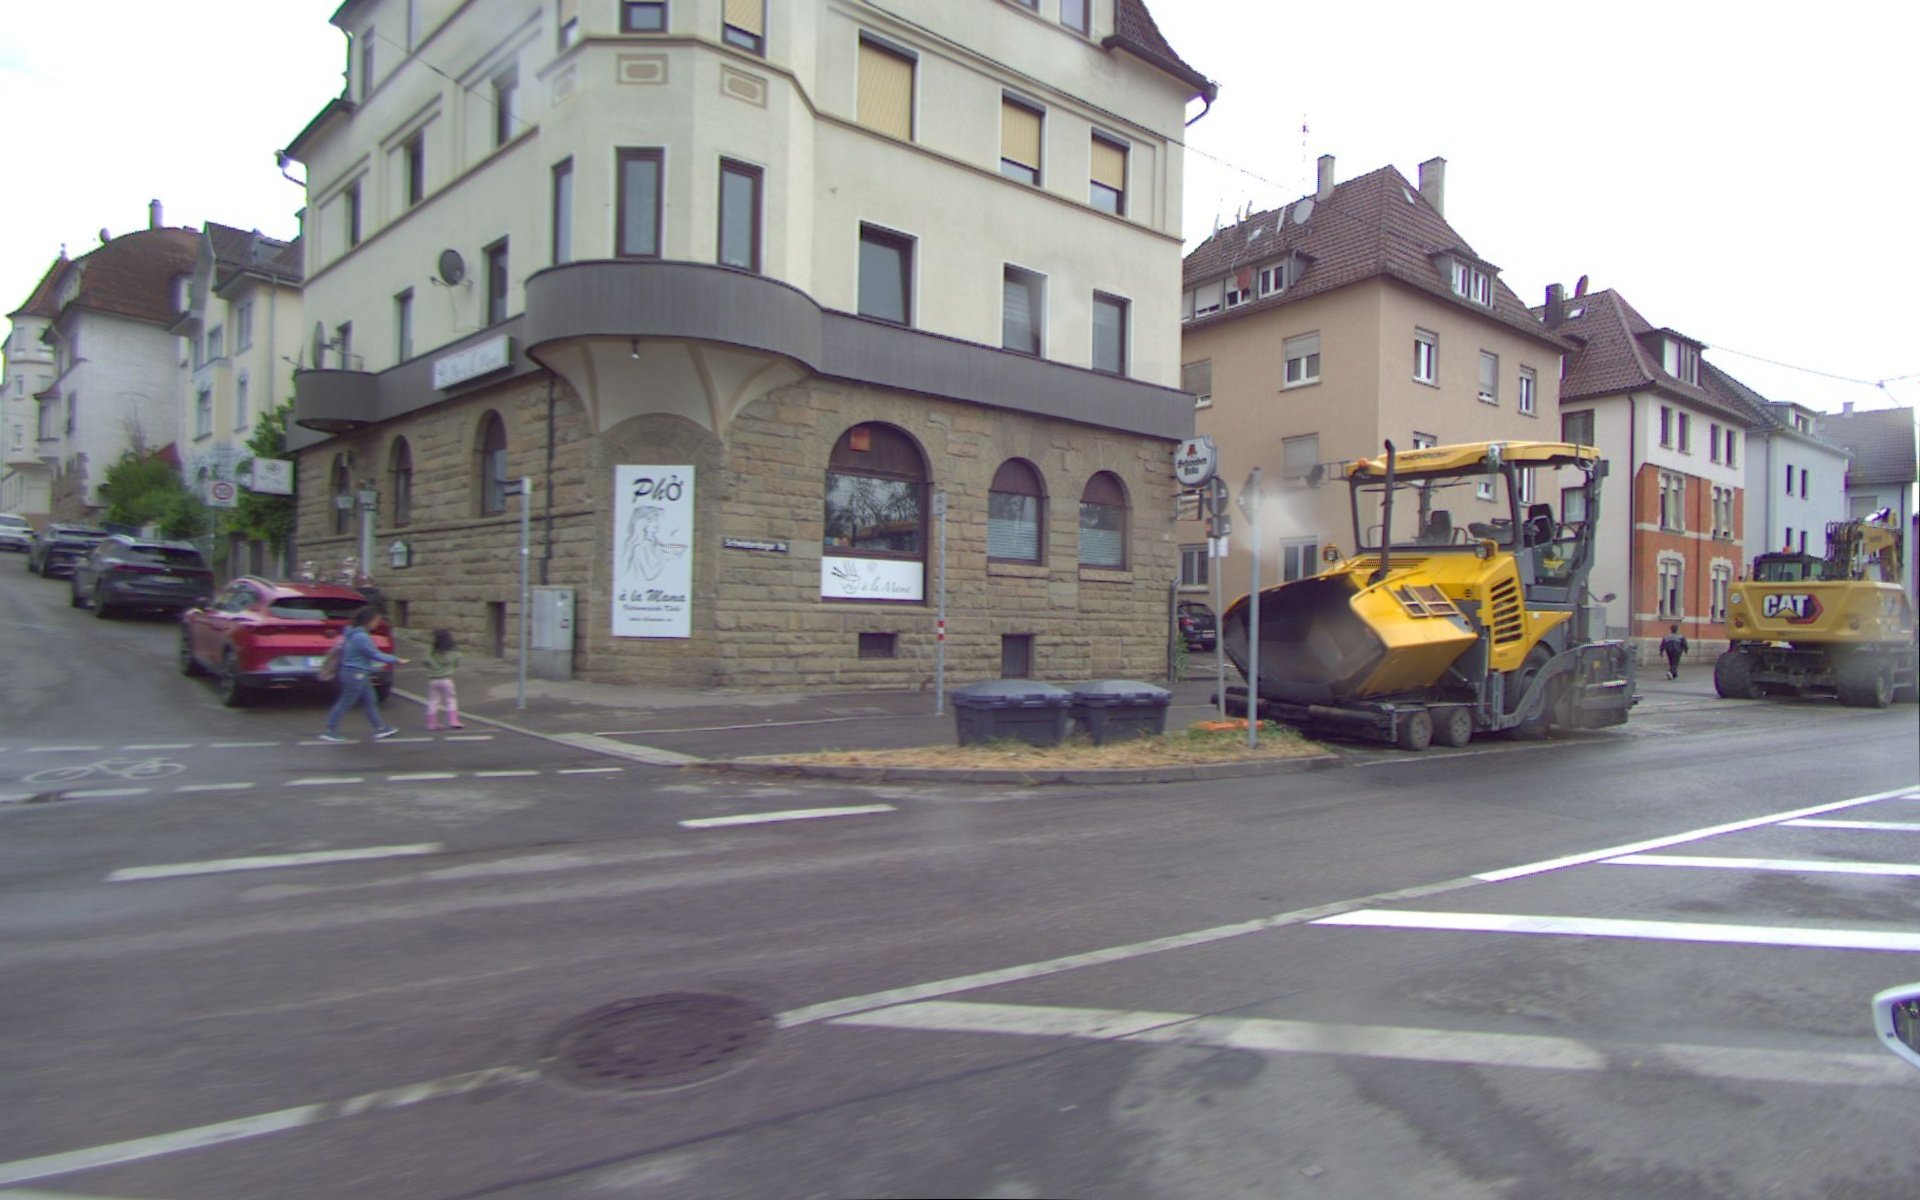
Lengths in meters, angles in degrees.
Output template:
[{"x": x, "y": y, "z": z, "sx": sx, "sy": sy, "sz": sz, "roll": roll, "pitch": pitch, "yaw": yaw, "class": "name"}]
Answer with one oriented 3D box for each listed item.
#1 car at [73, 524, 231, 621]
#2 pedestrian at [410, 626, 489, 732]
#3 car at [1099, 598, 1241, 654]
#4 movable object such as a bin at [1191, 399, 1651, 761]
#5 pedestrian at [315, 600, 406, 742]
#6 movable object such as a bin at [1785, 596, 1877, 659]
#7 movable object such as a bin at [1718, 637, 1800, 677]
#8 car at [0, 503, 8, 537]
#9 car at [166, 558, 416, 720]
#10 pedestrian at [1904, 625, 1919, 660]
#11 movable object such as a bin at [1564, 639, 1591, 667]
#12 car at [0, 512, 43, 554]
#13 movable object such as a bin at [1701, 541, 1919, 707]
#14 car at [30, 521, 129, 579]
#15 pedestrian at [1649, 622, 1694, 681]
[{"x": -17.405, "y": -0.650, "z": 21.558, "sx": 4.482, "sy": 1.595, "sz": 2.065, "roll": 9, "pitch": 7, "yaw": 43, "class": "car"}, {"x": -5.895, "y": 0.887, "z": 11.630, "sx": 0.720, "sy": 1.139, "sz": 0.741, "roll": 0, "pitch": 1, "yaw": -20, "class": "pedestrian"}, {"x": 6.122, "y": 0.712, "z": 29.625, "sx": 1.833, "sy": 1.461, "sz": 3.962, "roll": -1, "pitch": 1, "yaw": -34, "class": "car"}, {"x": 6.290, "y": -0.245, "z": 13.561, "sx": 5.917, "sy": 3.908, "sz": 2.760, "roll": 0, "pitch": 1, "yaw": -31, "class": "movable object such as a bin"}, {"x": -6.422, "y": 0.724, "z": 10.770, "sx": 0.798, "sy": 1.420, "sz": 0.775, "roll": -1, "pitch": 2, "yaw": -32, "class": "pedestrian"}, {"x": 39.766, "y": 1.184, "z": 45.847, "sx": 4.578, "sy": 2.719, "sz": 1.982, "roll": 0, "pitch": 2, "yaw": -33, "class": "movable object such as a bin"}, {"x": 30.746, "y": 2.202, "z": 38.622, "sx": 3.965, "sy": 1.372, "sz": 1.541, "roll": 3, "pitch": -1, "yaw": -38, "class": "movable object such as a bin"}, {"x": -46.865, "y": -3.892, "z": 47.918, "sx": 4.206, "sy": 1.404, "sz": 1.876, "roll": 9, "pitch": 7, "yaw": 43, "class": "car"}, {"x": -9.314, "y": 0.381, "z": 13.814, "sx": 4.481, "sy": 1.595, "sz": 1.925, "roll": 7, "pitch": 6, "yaw": 43, "class": "car"}, {"x": 57.826, "y": 2.544, "z": 60.714, "sx": 1.068, "sy": 2.041, "sz": 1.045, "roll": 2, "pitch": 2, "yaw": 45, "class": "pedestrian"}, {"x": 20.929, "y": 1.785, "z": 34.057, "sx": 0.570, "sy": 0.910, "sz": 0.628, "roll": -1, "pitch": 2, "yaw": -39, "class": "movable object such as a bin"}, {"x": -38.862, "y": -2.755, "z": 40.939, "sx": 4.206, "sy": 1.404, "sz": 1.876, "roll": 9, "pitch": 7, "yaw": 43, "class": "car"}, {"x": 18.667, "y": 0.478, "z": 21.842, "sx": 4.082, "sy": 3.215, "sz": 2.853, "roll": 1, "pitch": 1, "yaw": -34, "class": "movable object such as a bin"}, {"x": -26.949, "y": -1.558, "z": 30.707, "sx": 4.206, "sy": 1.404, "sz": 1.876, "roll": 9, "pitch": 7, "yaw": 43, "class": "car"}, {"x": 20.401, "y": 1.455, "z": 28.795, "sx": 1.081, "sy": 1.610, "sz": 0.758, "roll": -1, "pitch": 2, "yaw": -38, "class": "pedestrian"}]
